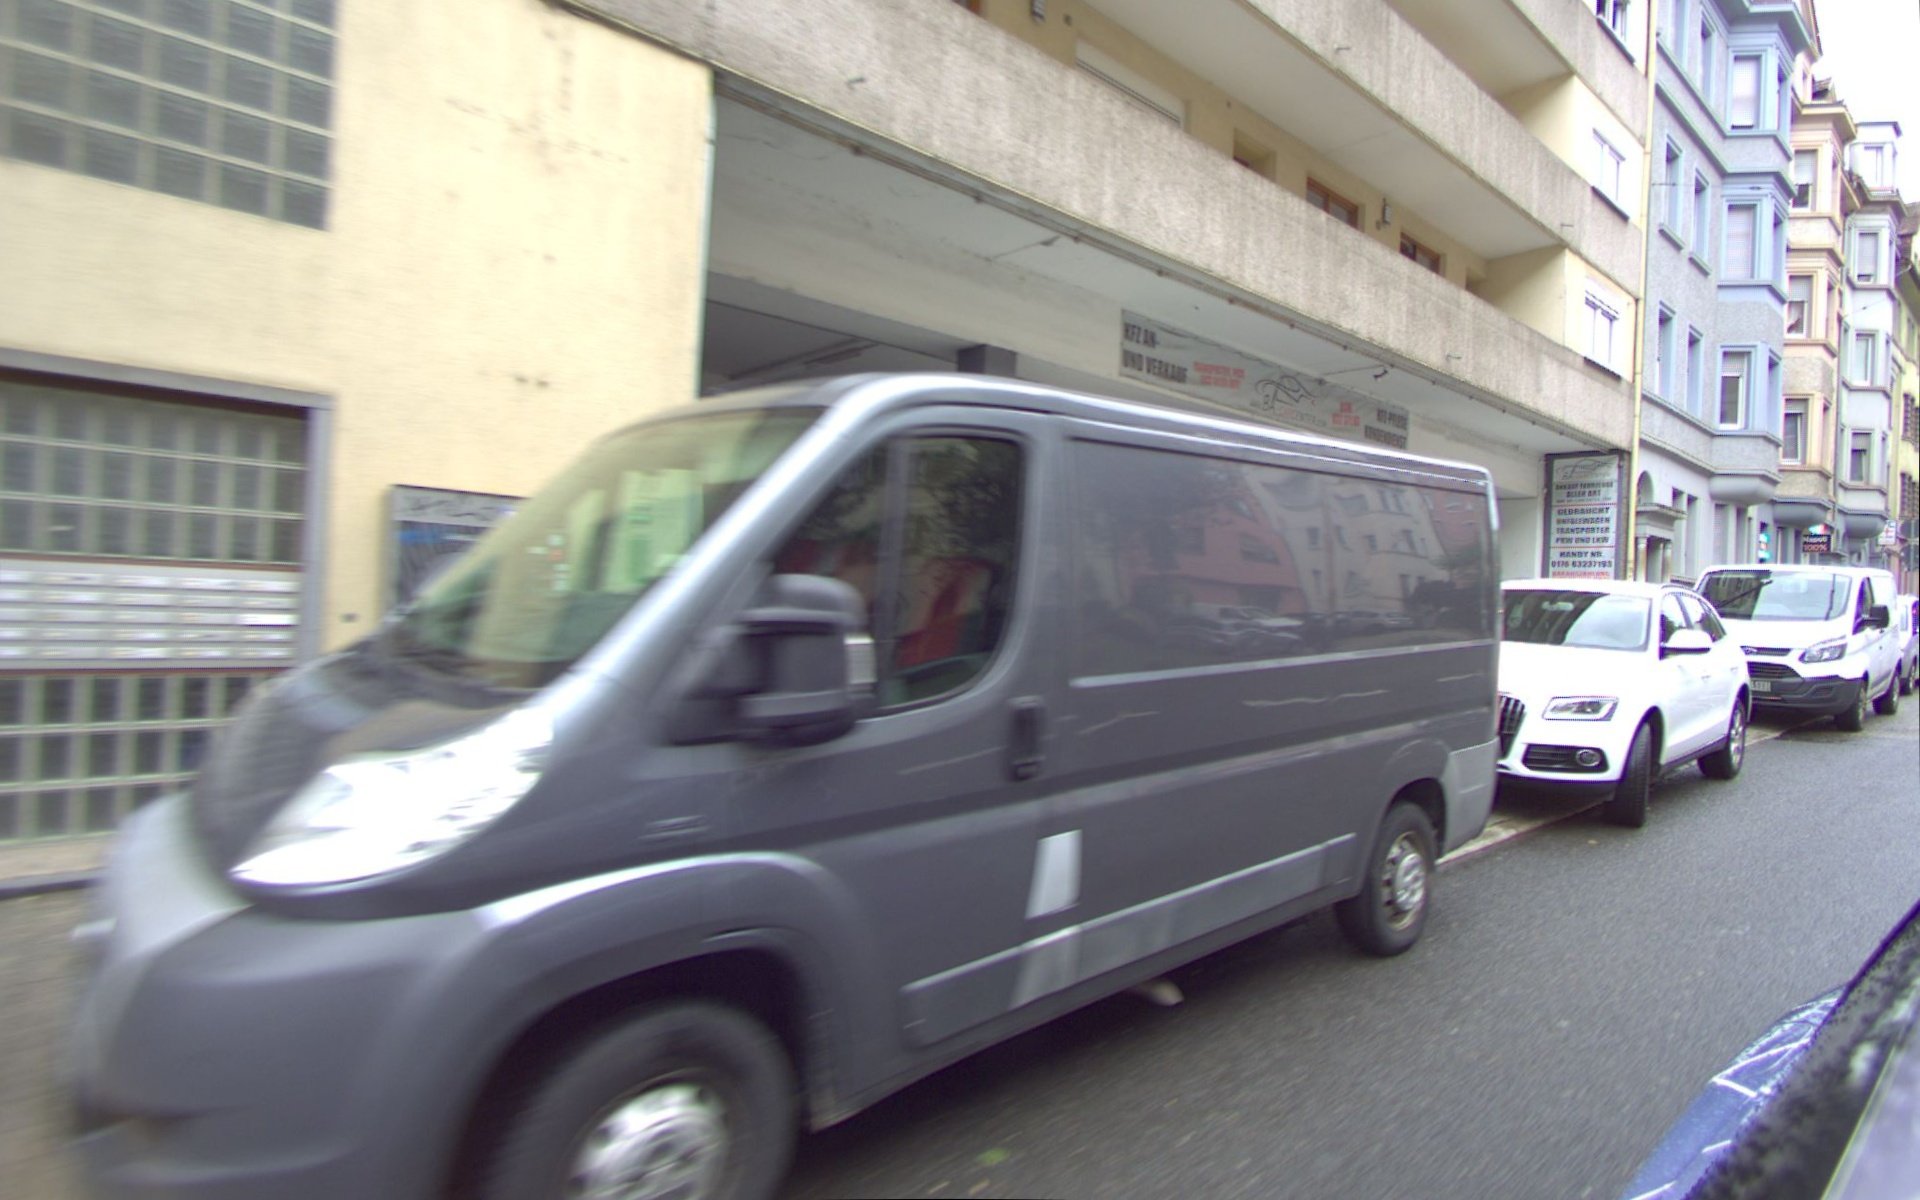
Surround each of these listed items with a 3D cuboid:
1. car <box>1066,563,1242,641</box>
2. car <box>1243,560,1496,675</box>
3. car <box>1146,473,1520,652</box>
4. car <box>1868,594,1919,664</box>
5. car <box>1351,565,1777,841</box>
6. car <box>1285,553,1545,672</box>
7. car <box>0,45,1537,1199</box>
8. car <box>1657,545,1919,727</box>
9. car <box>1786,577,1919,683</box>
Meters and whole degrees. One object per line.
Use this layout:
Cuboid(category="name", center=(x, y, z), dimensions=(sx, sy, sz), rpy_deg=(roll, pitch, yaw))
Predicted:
Cuboid(category="car", center=(3.984, 0.004, 21.161), dimensions=(1.632, 1.483, 3.417), rpy_deg=(-1, 1, -37))
Cuboid(category="car", center=(6.878, 0.250, 17.473), dimensions=(1.678, 1.736, 4.008), rpy_deg=(1, 0, -24))
Cuboid(category="car", center=(3.980, -0.422, 11.570), dimensions=(1.774, 1.661, 3.966), rpy_deg=(1, 2, -22))
Cuboid(category="car", center=(22.095, 0.626, 22.910), dimensions=(4.282, 1.460, 1.731), rpy_deg=(0, 2, -41))
Cuboid(category="car", center=(5.045, 0.590, 8.201), dimensions=(4.199, 1.660, 1.749), rpy_deg=(0, 2, -41))
Cuboid(category="car", center=(8.677, 0.175, 19.784), dimensions=(1.958, 2.039, 4.474), rpy_deg=(2, 1, -22))
Cuboid(category="car", center=(0.041, 0.312, 3.933), dimensions=(5.415, 2.175, 2.158), rpy_deg=(0, 2, -41))
Cuboid(category="car", center=(11.116, 0.343, 13.355), dimensions=(4.738, 1.980, 1.993), rpy_deg=(0, 2, -41))
Cuboid(category="car", center=(16.322, 0.448, 18.011), dimensions=(4.236, 1.617, 1.731), rpy_deg=(0, 3, -41))
